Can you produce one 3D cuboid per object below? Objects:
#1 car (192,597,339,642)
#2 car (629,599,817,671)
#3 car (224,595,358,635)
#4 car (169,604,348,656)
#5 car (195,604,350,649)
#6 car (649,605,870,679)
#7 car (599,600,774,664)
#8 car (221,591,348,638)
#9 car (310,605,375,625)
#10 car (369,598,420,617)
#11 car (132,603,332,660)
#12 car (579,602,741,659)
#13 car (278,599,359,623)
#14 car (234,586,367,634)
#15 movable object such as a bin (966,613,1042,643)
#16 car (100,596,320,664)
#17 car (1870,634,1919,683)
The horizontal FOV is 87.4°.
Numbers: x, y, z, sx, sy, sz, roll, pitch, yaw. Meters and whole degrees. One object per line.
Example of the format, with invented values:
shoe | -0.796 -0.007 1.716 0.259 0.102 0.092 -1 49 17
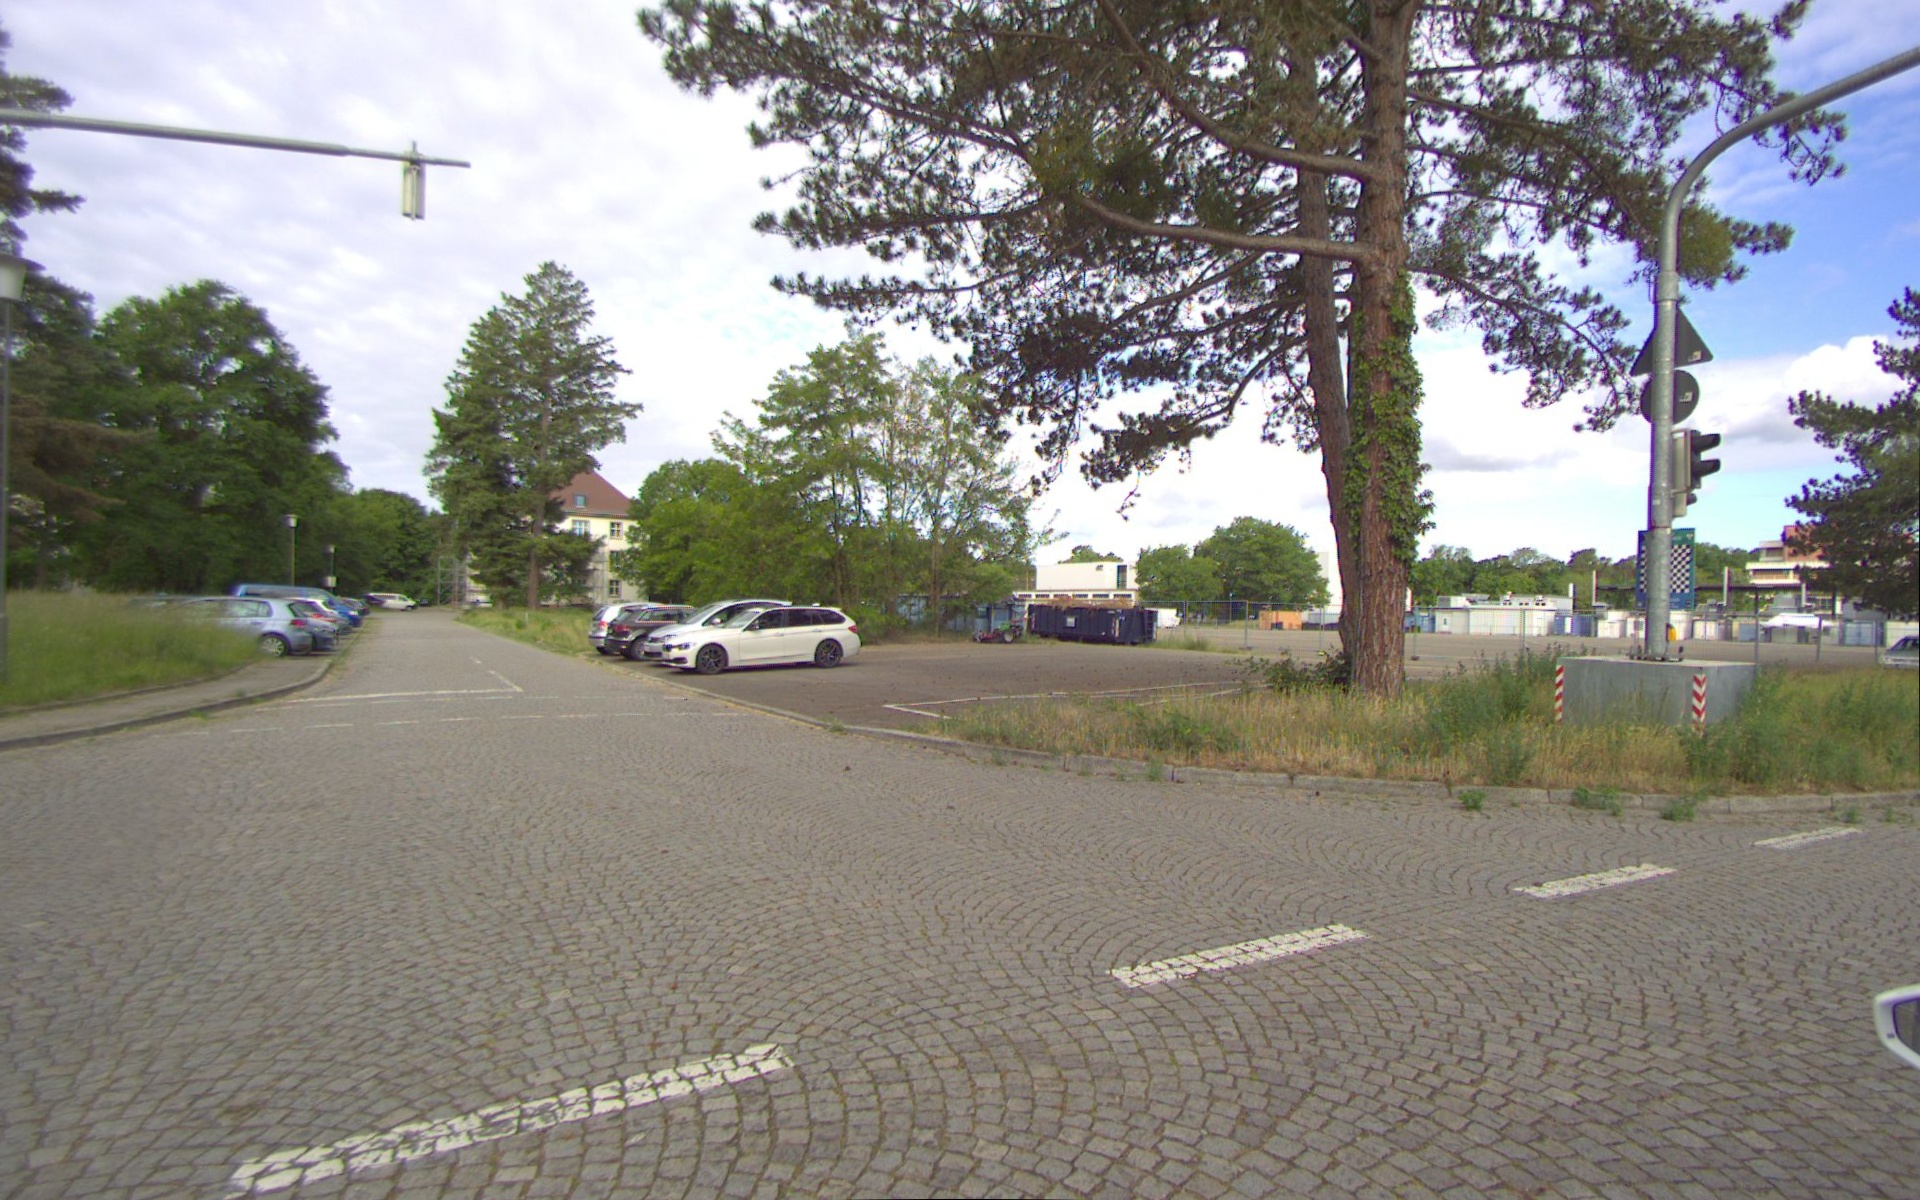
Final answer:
car | -23.738 0.687 34.511 3.952 1.457 1.678 2 -1 -30
car | -5.945 0.815 25.403 4.280 1.605 1.810 -1 1 -34
car | -24.616 0.559 37.140 3.952 1.372 1.678 2 -1 -30
car | -19.665 0.851 28.368 3.952 1.372 1.678 2 -1 -30
car | -22.046 0.866 32.409 3.952 1.372 1.678 2 -1 -30
car | -4.569 0.885 23.157 4.689 1.461 1.799 -1 1 -33
car | -7.458 0.820 27.533 4.280 1.522 1.843 -2 1 -34
car | -26.475 0.563 39.522 3.950 1.737 1.678 1 0 -29
car | -45.249 1.078 73.664 3.952 1.372 1.678 2 -1 -30
car | -65.614 0.869 116.603 5.104 2.040 1.983 2 -1 -31
car | -18.543 0.801 25.831 3.952 1.372 1.678 2 -1 -30
car | -8.872 0.890 29.799 4.281 1.587 1.782 1 0 -34
car | -38.612 0.668 60.571 3.952 1.372 1.678 2 -1 -30
car | -28.871 0.432 44.166 4.737 2.007 1.982 1 0 -30
movable object such as a bin | 1.641 1.050 37.268 2.632 1.062 1.170 2 -1 -36
car | -17.400 0.698 23.557 3.955 1.492 1.676 2 -1 -32
car | 32.167 1.932 33.507 3.954 1.507 1.605 2 0 -31
